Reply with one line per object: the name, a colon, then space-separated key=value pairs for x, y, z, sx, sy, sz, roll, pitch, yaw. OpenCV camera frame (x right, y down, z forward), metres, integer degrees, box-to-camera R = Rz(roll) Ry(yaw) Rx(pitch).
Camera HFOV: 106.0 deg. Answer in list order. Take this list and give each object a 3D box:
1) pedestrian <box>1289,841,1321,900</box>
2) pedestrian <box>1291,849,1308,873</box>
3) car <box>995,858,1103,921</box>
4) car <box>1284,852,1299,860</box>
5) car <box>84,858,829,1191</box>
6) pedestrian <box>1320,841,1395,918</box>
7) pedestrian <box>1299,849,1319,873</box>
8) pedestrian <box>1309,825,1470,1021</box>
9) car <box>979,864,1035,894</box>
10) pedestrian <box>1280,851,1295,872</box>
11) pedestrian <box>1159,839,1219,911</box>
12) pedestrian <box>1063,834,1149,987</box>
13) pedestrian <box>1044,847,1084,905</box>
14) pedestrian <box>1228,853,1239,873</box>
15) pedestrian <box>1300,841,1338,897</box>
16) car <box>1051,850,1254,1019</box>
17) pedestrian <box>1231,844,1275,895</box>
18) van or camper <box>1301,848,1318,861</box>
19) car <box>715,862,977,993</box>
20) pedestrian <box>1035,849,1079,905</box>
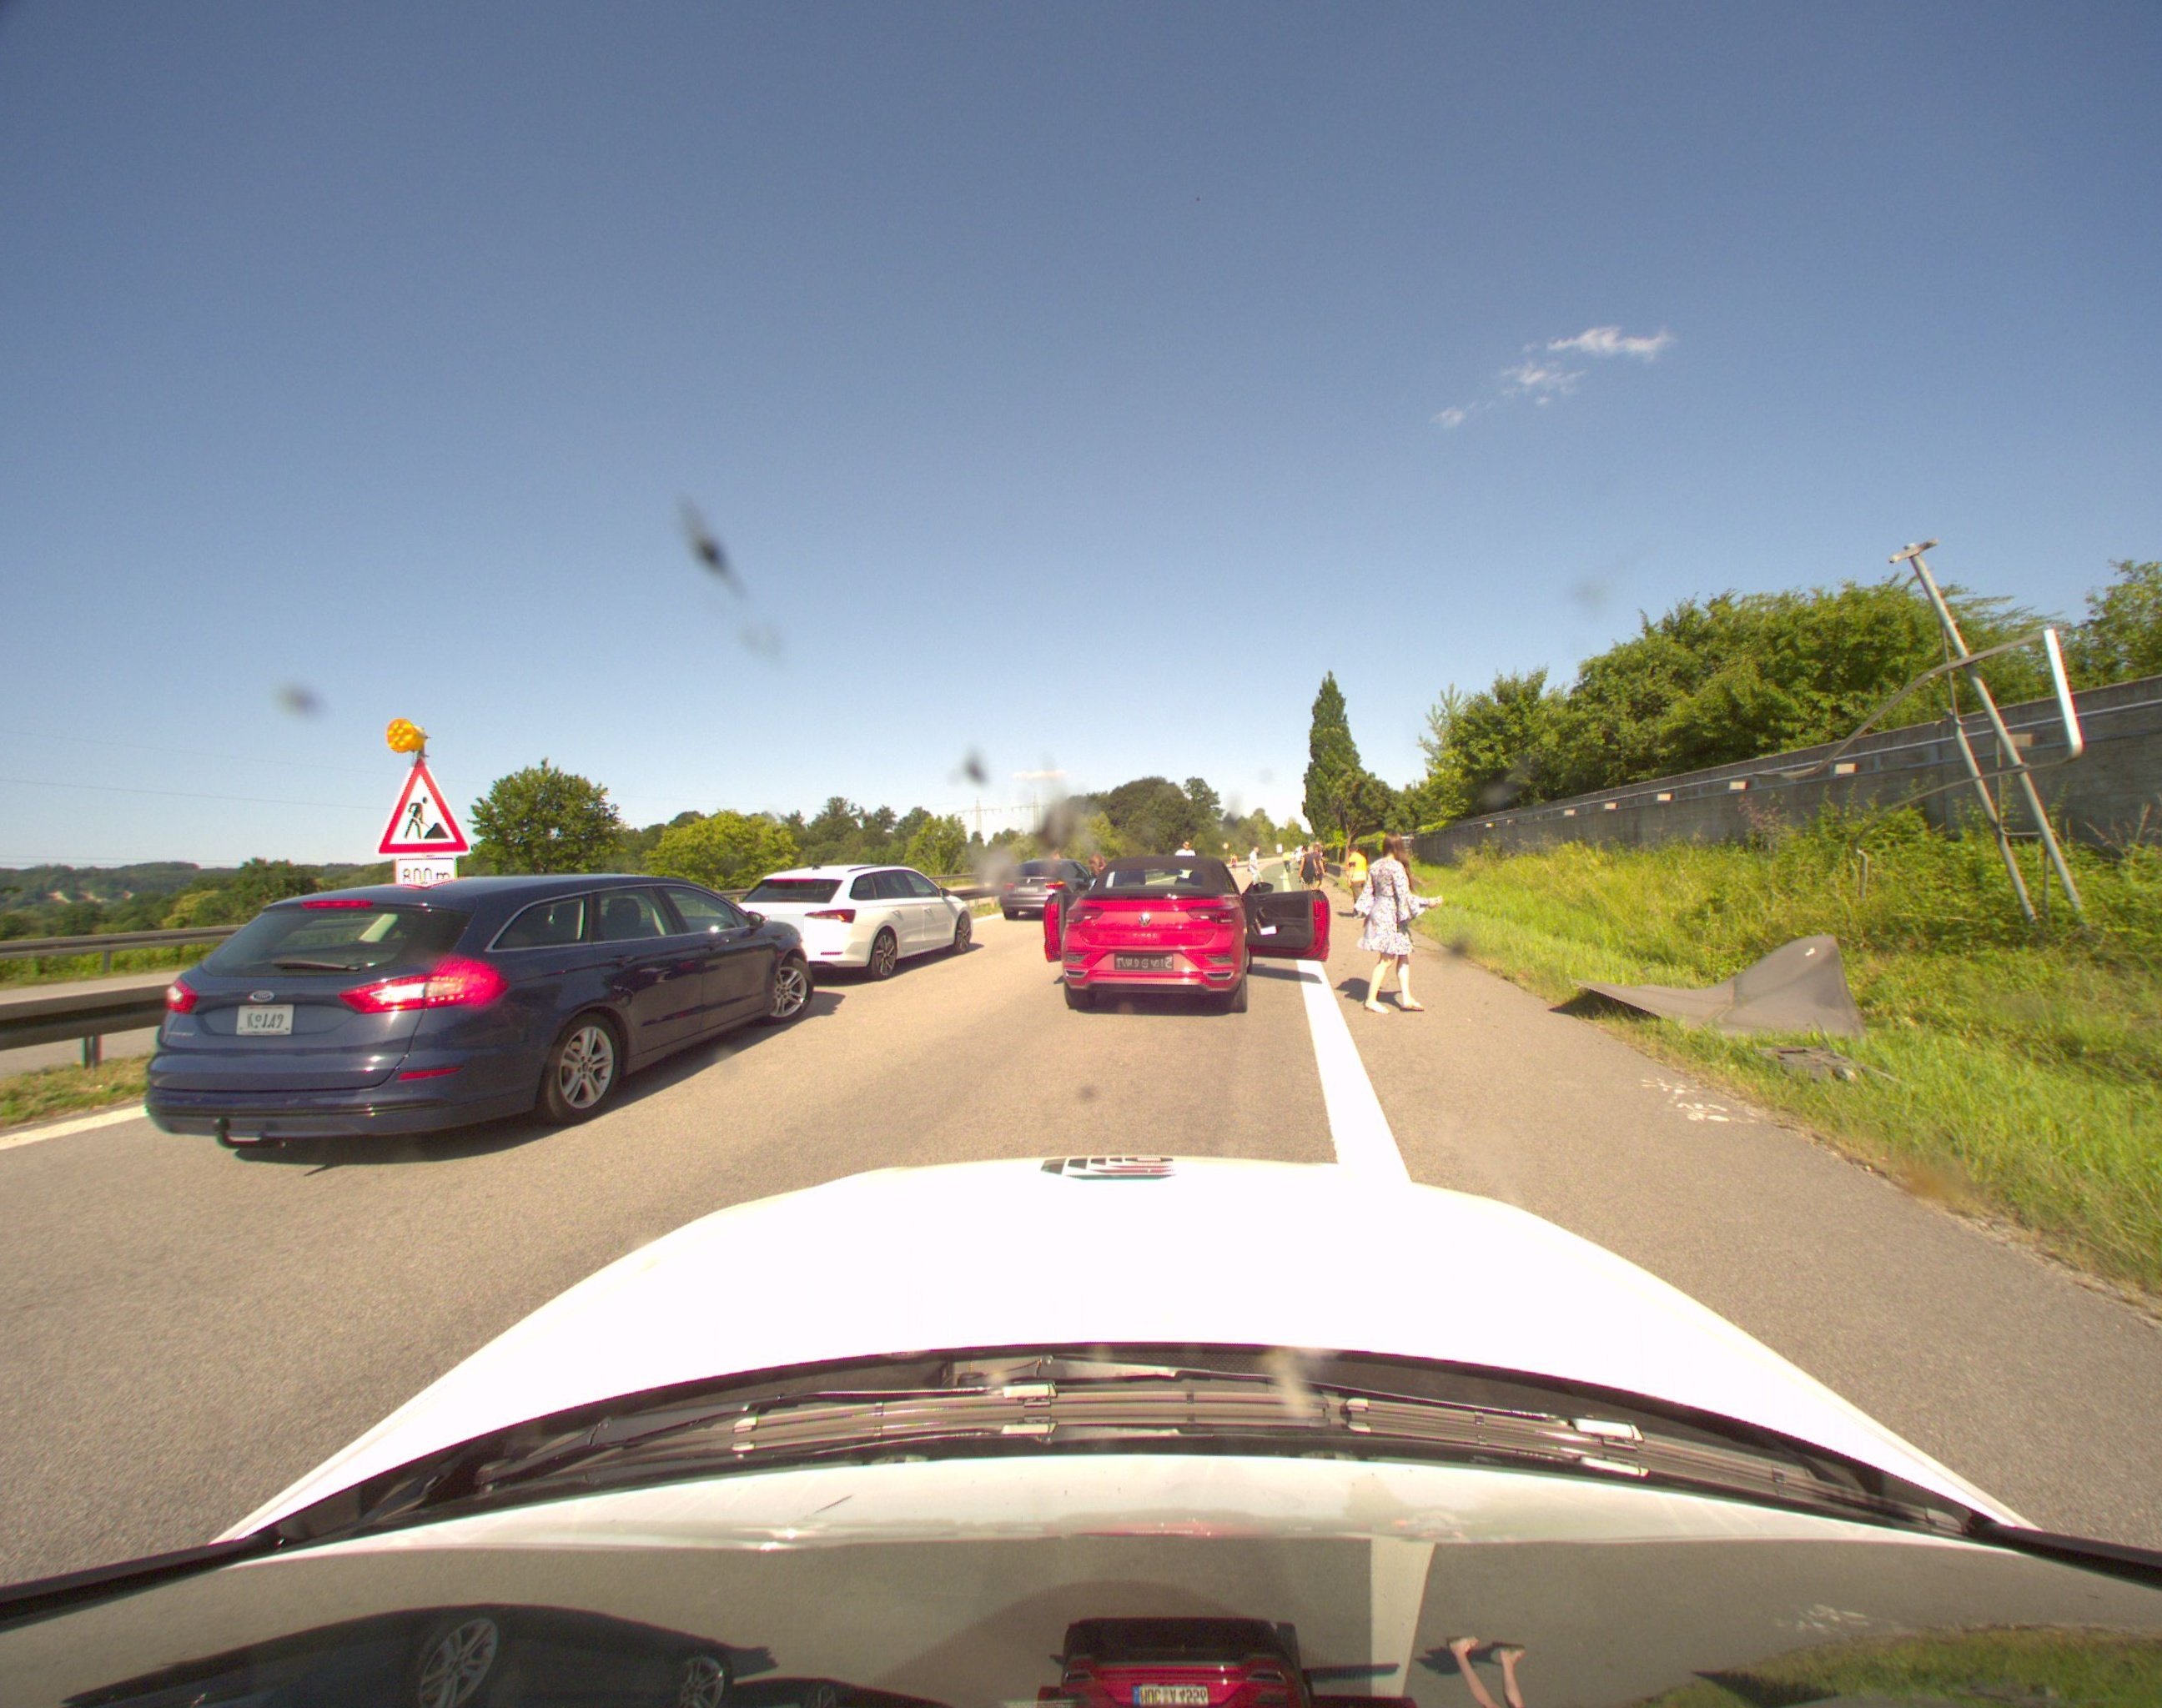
pedestrian: x=6.699 y=0.488 z=24.435 sx=0.888 sy=1.725 sz=0.757 roll=-1 pitch=-1 yaw=14
pedestrian: x=16.091 y=0.517 z=59.999 sx=1.106 sy=1.689 sz=0.977 roll=-1 pitch=-1 yaw=13
car: x=-0.702 y=0.832 z=21.056 sx=1.683 sy=1.426 sz=4.349 roll=-1 pitch=0 yaw=13
car: x=42.166 y=0.432 z=163.068 sx=1.716 sy=1.487 sz=4.236 roll=-1 pitch=0 yaw=29
car: x=-3.642 y=0.817 z=6.051 sx=1.780 sy=1.493 sz=4.498 roll=-2 pitch=0 yaw=4
pedestrian: x=6.271 y=0.570 z=18.525 sx=0.961 sy=1.654 sz=1.269 roll=-2 pitch=-1 yaw=-22
pedestrian: x=16.610 y=0.506 z=59.253 sx=1.011 sy=1.689 sz=0.992 roll=0 pitch=-1 yaw=-20
pedestrian: x=2.938 y=0.602 z=7.779 sx=1.133 sy=1.695 sz=0.883 roll=-2 pitch=-1 yaw=-34
car: x=-3.902 y=1.286 z=43.472 sx=1.683 sy=1.426 sz=4.320 roll=-1 pitch=0 yaw=13
pedestrian: x=16.276 y=0.589 z=64.190 sx=1.047 sy=1.689 sz=1.022 roll=-1 pitch=-1 yaw=20
pedestrian: x=3.024 y=0.572 z=22.871 sx=1.110 sy=1.912 sz=1.247 roll=-2 pitch=-1 yaw=-23
pedestrian: x=0.306 y=0.639 z=9.453 sx=0.834 sy=1.683 sz=0.745 roll=-2 pitch=-1 yaw=9
pedestrian: x=-0.553 y=0.733 z=27.727 sx=1.058 sy=1.883 sz=1.097 roll=-2 pitch=-1 yaw=12
pedestrian: x=12.880 y=0.770 z=68.700 sx=0.785 sy=1.689 sz=0.796 roll=-1 pitch=-1 yaw=18
pedestrian: x=7.568 y=0.476 z=25.959 sx=0.815 sy=1.759 sz=0.822 roll=0 pitch=-1 yaw=-22
car: x=1.057 y=0.714 z=9.393 sx=1.720 sy=1.487 sz=4.225 roll=-1 pitch=0 yaw=13
pedestrian: x=6.096 y=0.538 z=28.840 sx=1.092 sy=1.789 sz=1.099 roll=0 pitch=-1 yaw=-23
van or camper: x=43.811 y=0.073 z=155.945 sx=1.974 sy=2.316 sz=4.498 roll=-1 pitch=-1 yaw=30
car: x=-3.015 y=0.863 z=11.502 sx=1.683 sy=1.441 sz=4.225 roll=-1 pitch=0 yaw=13
pedestrian: x=-0.773 y=0.731 z=26.531 sx=1.107 sy=1.763 sz=1.048 roll=-2 pitch=-1 yaw=12
